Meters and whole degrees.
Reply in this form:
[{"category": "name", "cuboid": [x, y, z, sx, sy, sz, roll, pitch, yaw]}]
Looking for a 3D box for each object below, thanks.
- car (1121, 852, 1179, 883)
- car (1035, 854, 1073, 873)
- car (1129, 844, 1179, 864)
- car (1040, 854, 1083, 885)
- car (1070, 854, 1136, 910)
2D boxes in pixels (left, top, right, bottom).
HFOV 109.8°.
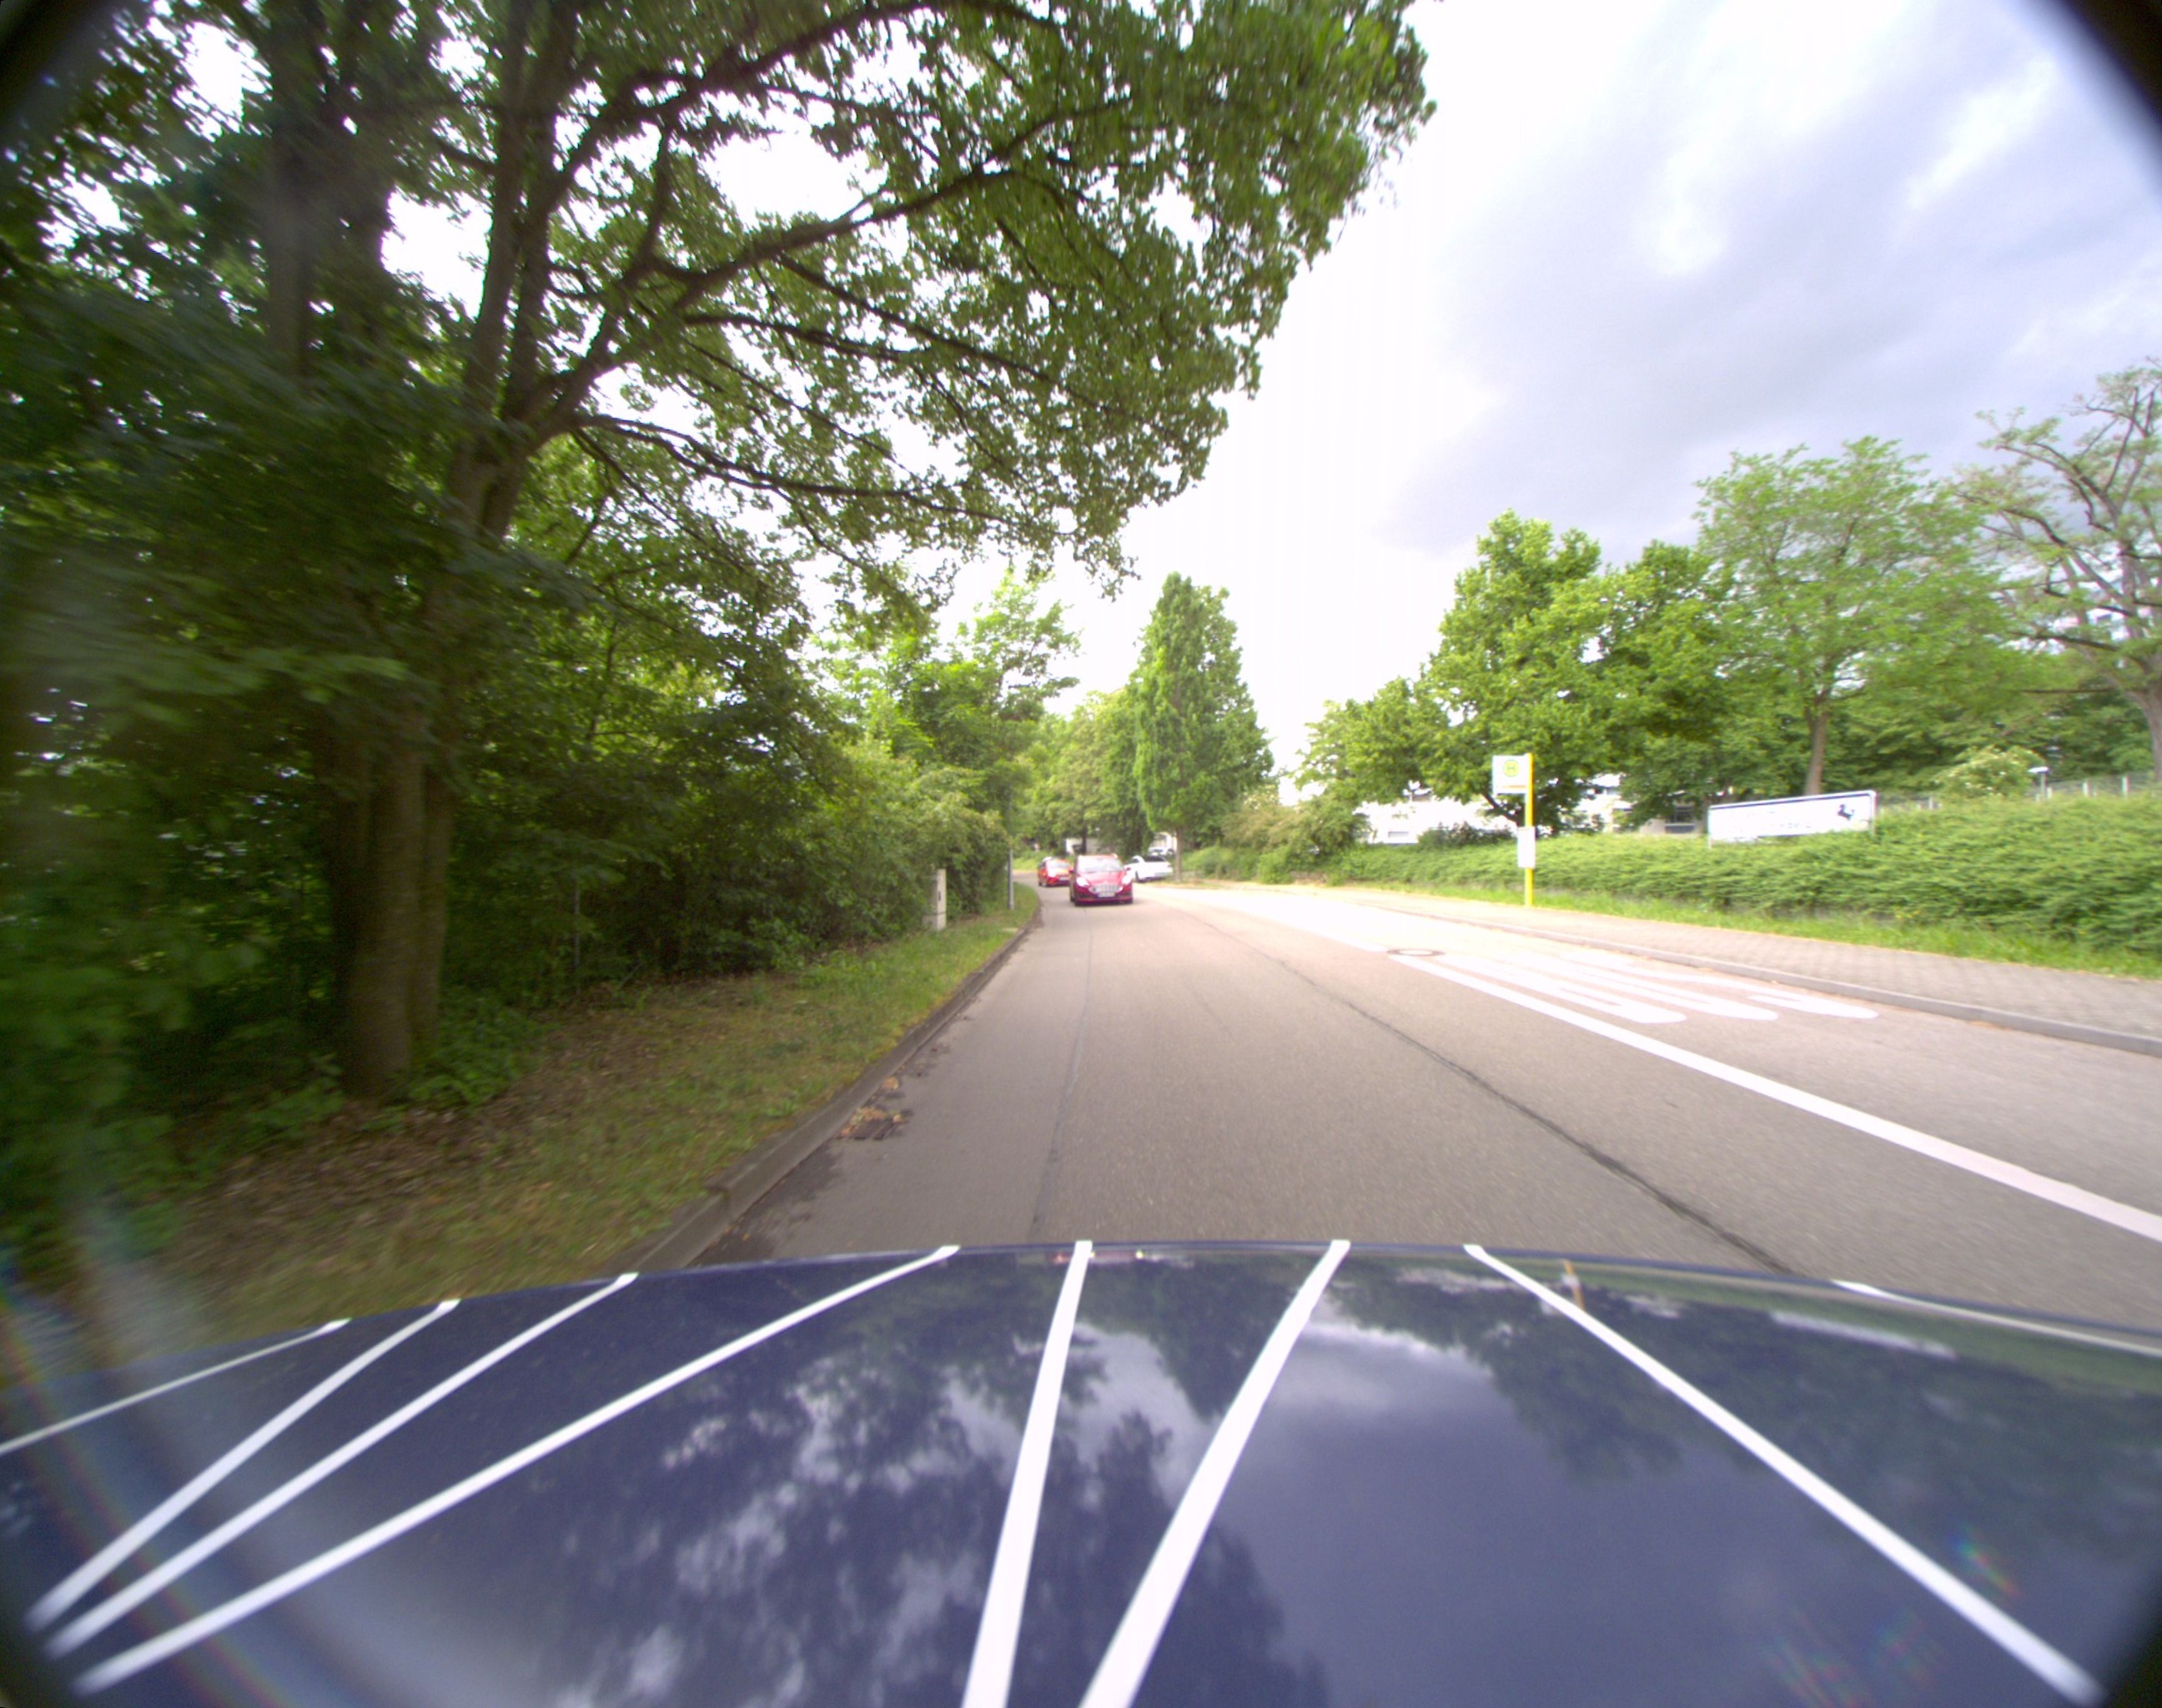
[{"category": "car", "cuboid": [3.600, 0.670, 40.676, 1.854, 1.483, 4.631, -2, 0, -11]}, {"category": "car", "cuboid": [-2.288, 0.811, 63.579, 1.856, 1.483, 3.992, -2, 0, -24]}, {"category": "car", "cuboid": [6.450, -0.024, 67.335, 3.801, 1.629, 2.003, -2, 2, 33]}, {"category": "car", "cuboid": [-1.149, 0.827, 42.070, 1.948, 1.522, 4.083, -3, 1, -7]}, {"category": "car", "cuboid": [0.628, 0.839, 25.088, 1.945, 1.550, 4.354, -2, 1, -1]}]
